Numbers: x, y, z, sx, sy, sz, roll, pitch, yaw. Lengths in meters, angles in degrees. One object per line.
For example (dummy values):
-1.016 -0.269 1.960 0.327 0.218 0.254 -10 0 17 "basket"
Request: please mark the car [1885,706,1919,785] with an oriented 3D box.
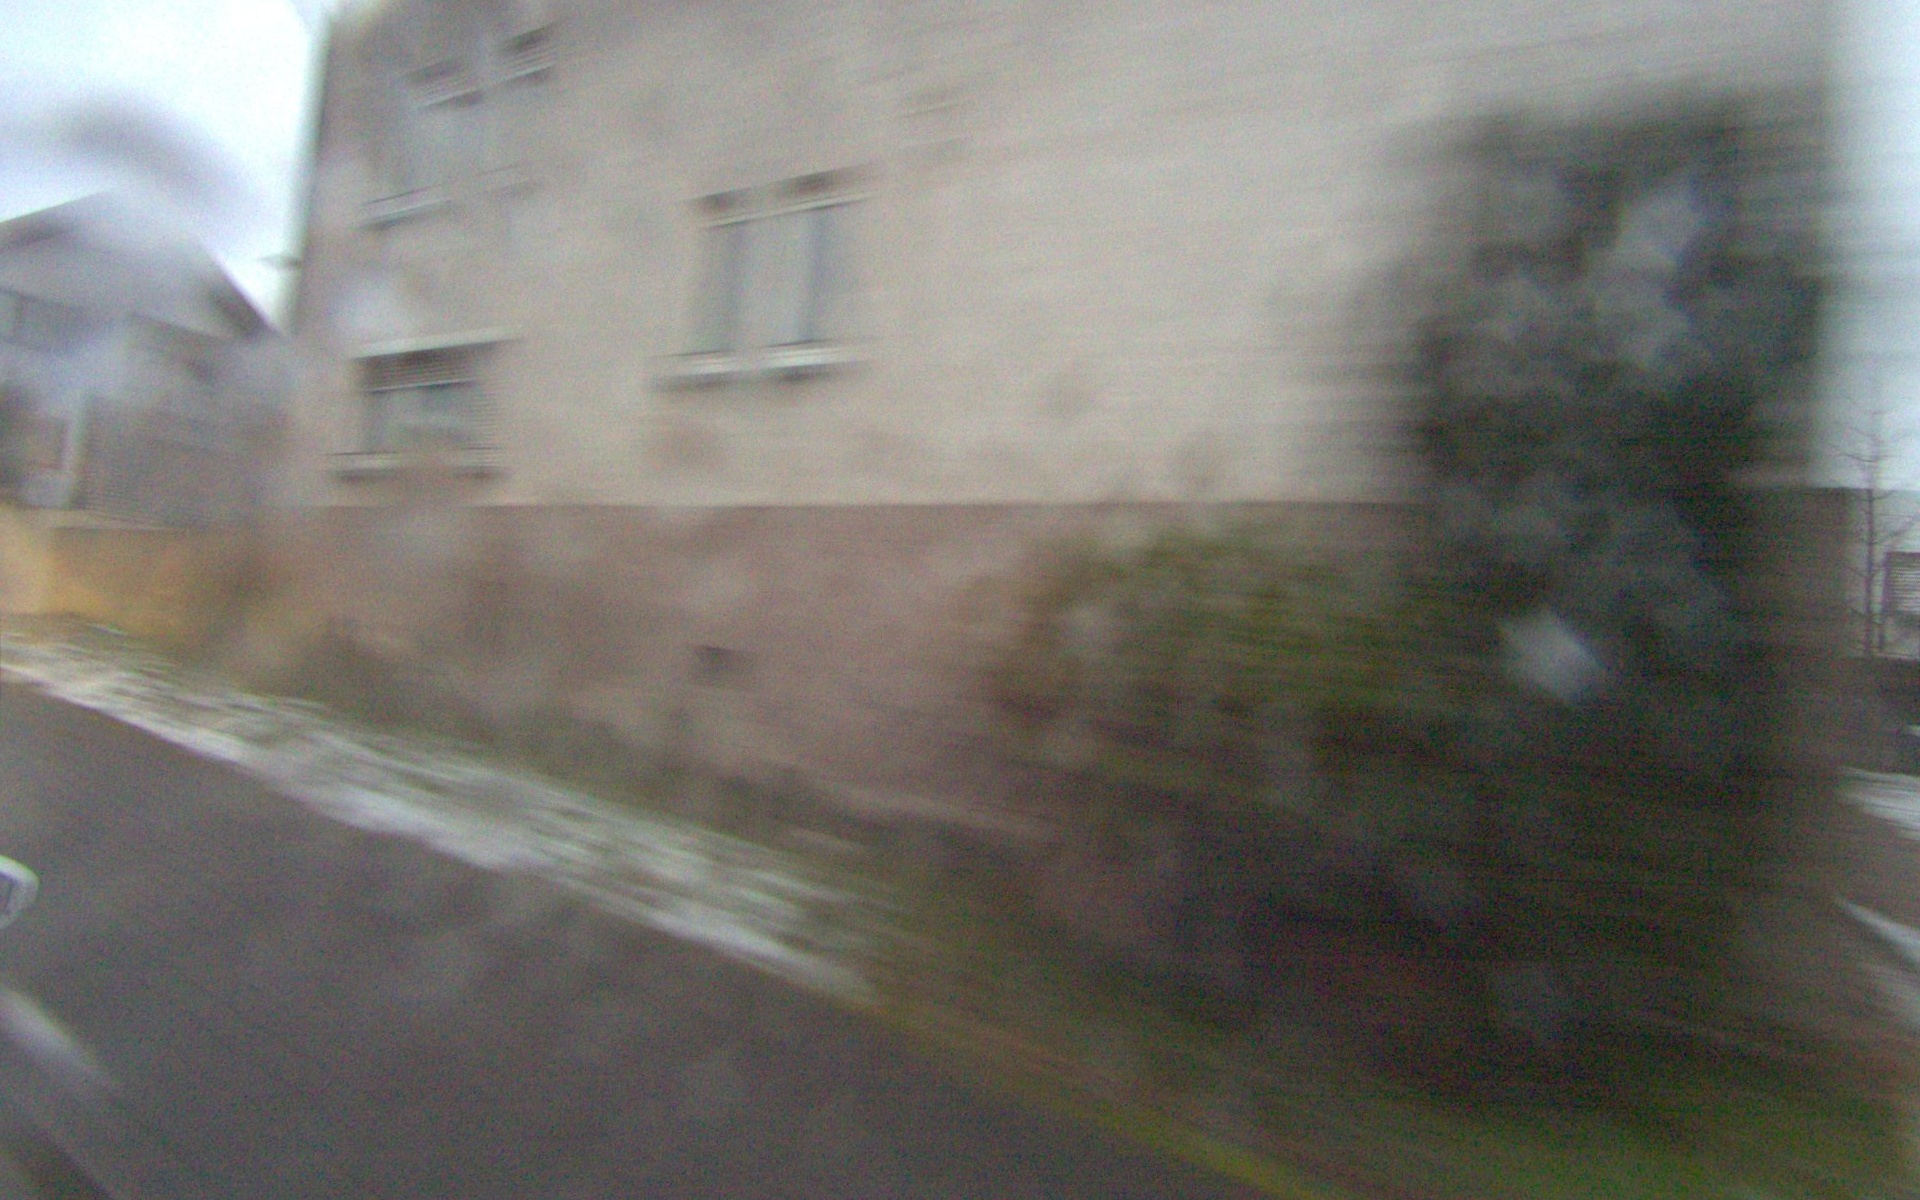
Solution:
21.548 3.178 21.393 1.678 1.649 4.004 5 -6 28 "car"
